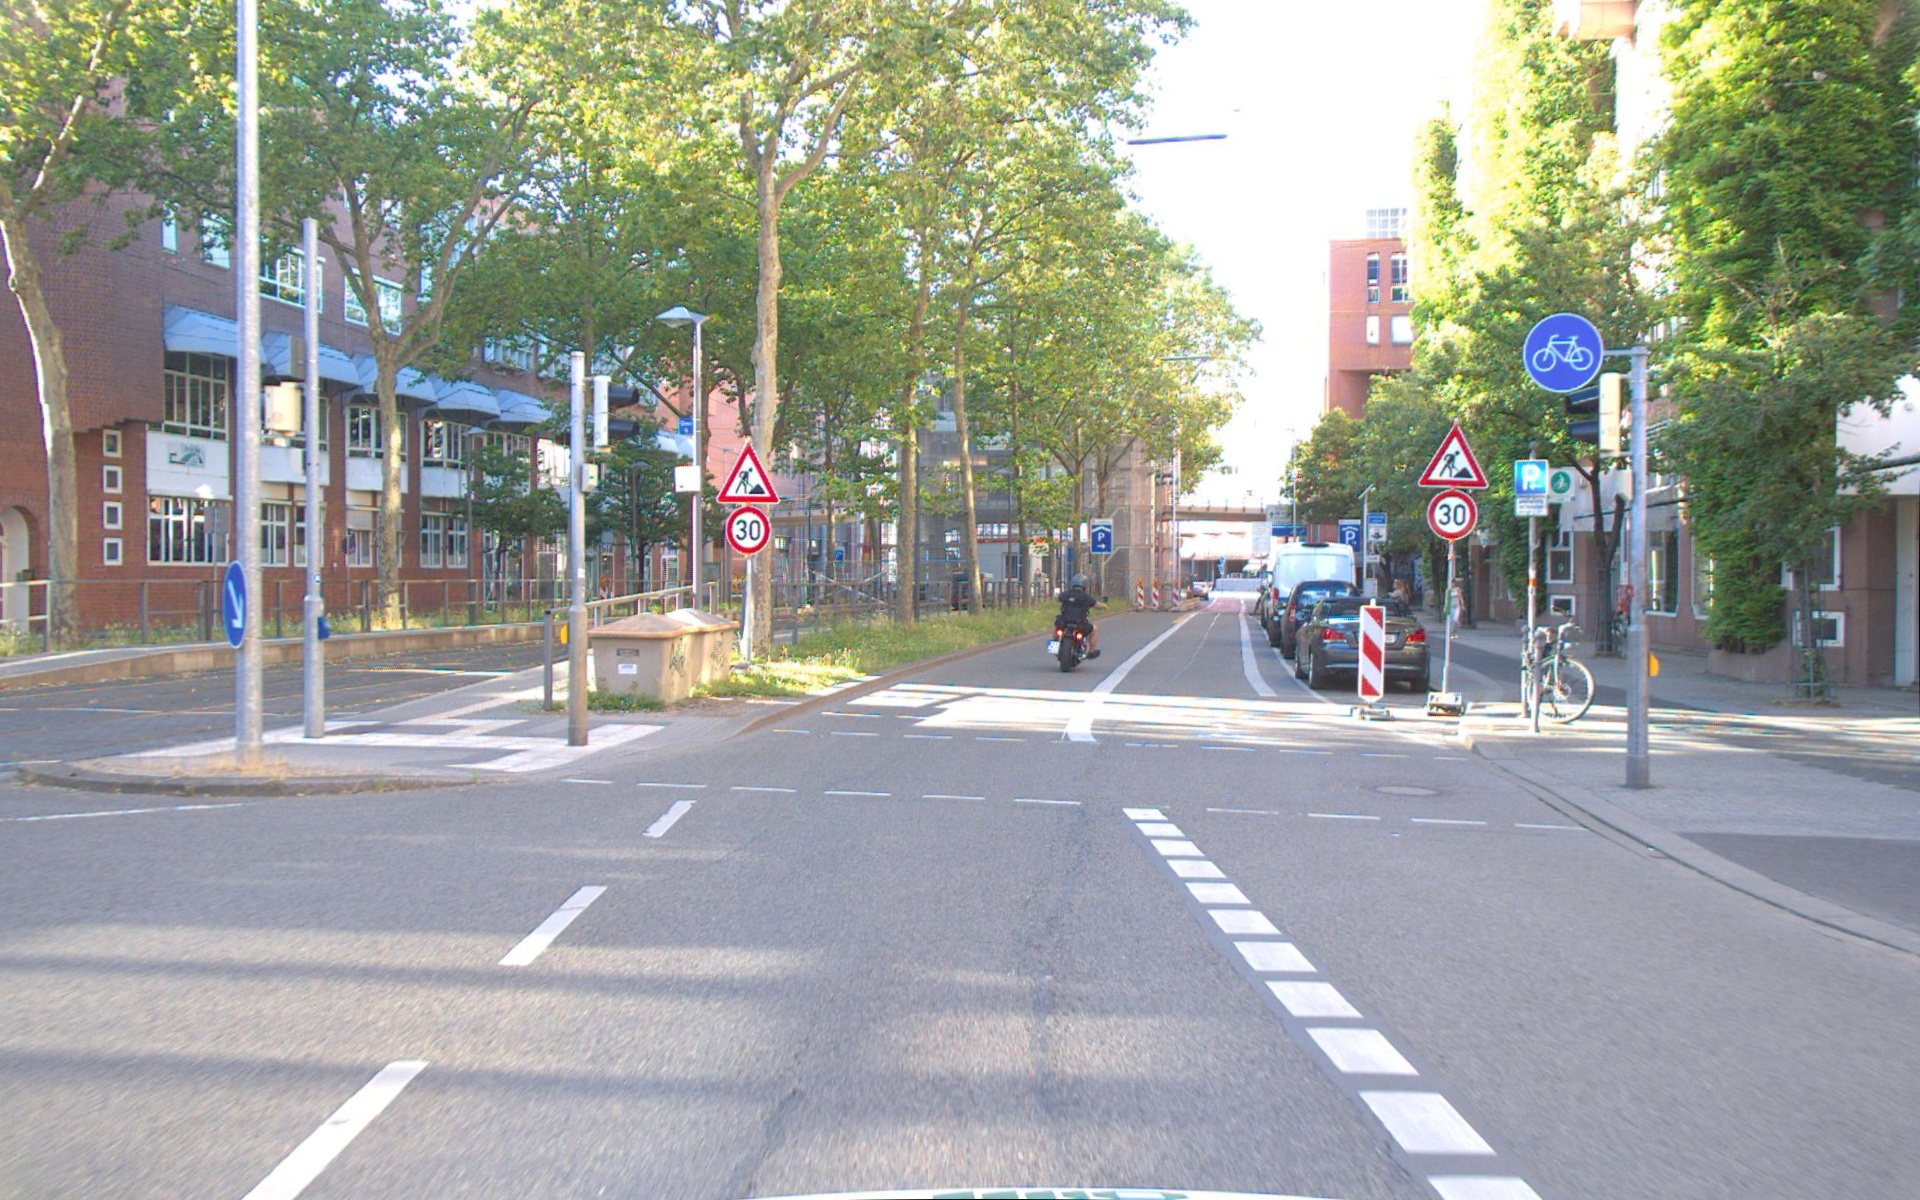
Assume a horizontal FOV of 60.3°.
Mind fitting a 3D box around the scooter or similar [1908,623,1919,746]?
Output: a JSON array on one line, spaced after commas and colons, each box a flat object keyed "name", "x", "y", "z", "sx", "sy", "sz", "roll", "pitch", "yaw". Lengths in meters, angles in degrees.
[{"name": "scooter or similar", "x": 9.441, "y": 0.832, "z": 15.598, "sx": 0.386, "sy": 1.178, "sz": 1.250, "roll": 0, "pitch": 1, "yaw": 6}]

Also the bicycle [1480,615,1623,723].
[{"name": "bicycle", "x": 6.478, "y": 0.728, "z": 18.207, "sx": 0.723, "sy": 1.071, "sz": 1.748, "roll": 0, "pitch": 1, "yaw": -10}]

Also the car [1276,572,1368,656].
[{"name": "car", "x": 7.585, "y": 0.228, "z": 34.962, "sx": 1.585, "sy": 1.647, "sz": 4.489, "roll": 0, "pitch": 1, "yaw": 8}]

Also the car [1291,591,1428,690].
[{"name": "car", "x": 6.026, "y": 0.551, "z": 25.354, "sx": 1.586, "sy": 1.325, "sz": 4.315, "roll": 0, "pitch": 1, "yaw": 7}]

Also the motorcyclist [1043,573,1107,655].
[{"name": "motorcyclist", "x": 1.901, "y": 0.226, "z": 27.269, "sx": 0.990, "sy": 1.284, "sz": 0.774, "roll": 2, "pitch": 1, "yaw": 4}]

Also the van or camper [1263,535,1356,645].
[{"name": "van or camper", "x": 8.769, "y": -0.294, "z": 41.926, "sx": 2.005, "sy": 2.585, "sz": 5.778, "roll": 0, "pitch": 1, "yaw": 9}]

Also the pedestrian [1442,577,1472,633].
[{"name": "pedestrian", "x": 13.511, "y": 0.133, "z": 44.955, "sx": 0.749, "sy": 1.470, "sz": 0.780, "roll": 1, "pitch": 0, "yaw": 19}]

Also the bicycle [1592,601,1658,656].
[{"name": "bicycle", "x": 13.400, "y": 0.561, "z": 33.360, "sx": 0.604, "sy": 1.038, "sz": 1.914, "roll": 0, "pitch": 1, "yaw": 2}]

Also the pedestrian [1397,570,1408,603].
[{"name": "pedestrian", "x": 22.569, "y": -0.676, "z": 84.336, "sx": 0.440, "sy": 1.655, "sz": 0.375, "roll": 0, "pitch": 1, "yaw": 3}]

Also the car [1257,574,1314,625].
[{"name": "car", "x": 10.769, "y": -0.042, "z": 54.878, "sx": 1.586, "sy": 1.638, "sz": 3.777, "roll": 0, "pitch": 1, "yaw": 7}]

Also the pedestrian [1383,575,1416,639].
[{"name": "pedestrian", "x": 11.653, "y": 0.179, "z": 43.881, "sx": 0.747, "sy": 1.673, "sz": 0.547, "roll": 0, "pitch": 1, "yaw": 2}]

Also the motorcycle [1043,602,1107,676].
[{"name": "motorcycle", "x": 1.896, "y": 0.626, "z": 27.316, "sx": 0.996, "sy": 1.116, "sz": 2.009, "roll": 1, "pitch": 1, "yaw": 4}]

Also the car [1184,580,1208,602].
[{"name": "car", "x": 19.667, "y": -0.767, "z": 137.710, "sx": 1.812, "sy": 1.747, "sz": 4.003, "roll": 0, "pitch": 1, "yaw": 6}]

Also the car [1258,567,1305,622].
[{"name": "car", "x": 11.532, "y": -0.235, "z": 59.313, "sx": 1.585, "sy": 1.898, "sz": 3.778, "roll": 0, "pitch": 1, "yaw": 11}]
